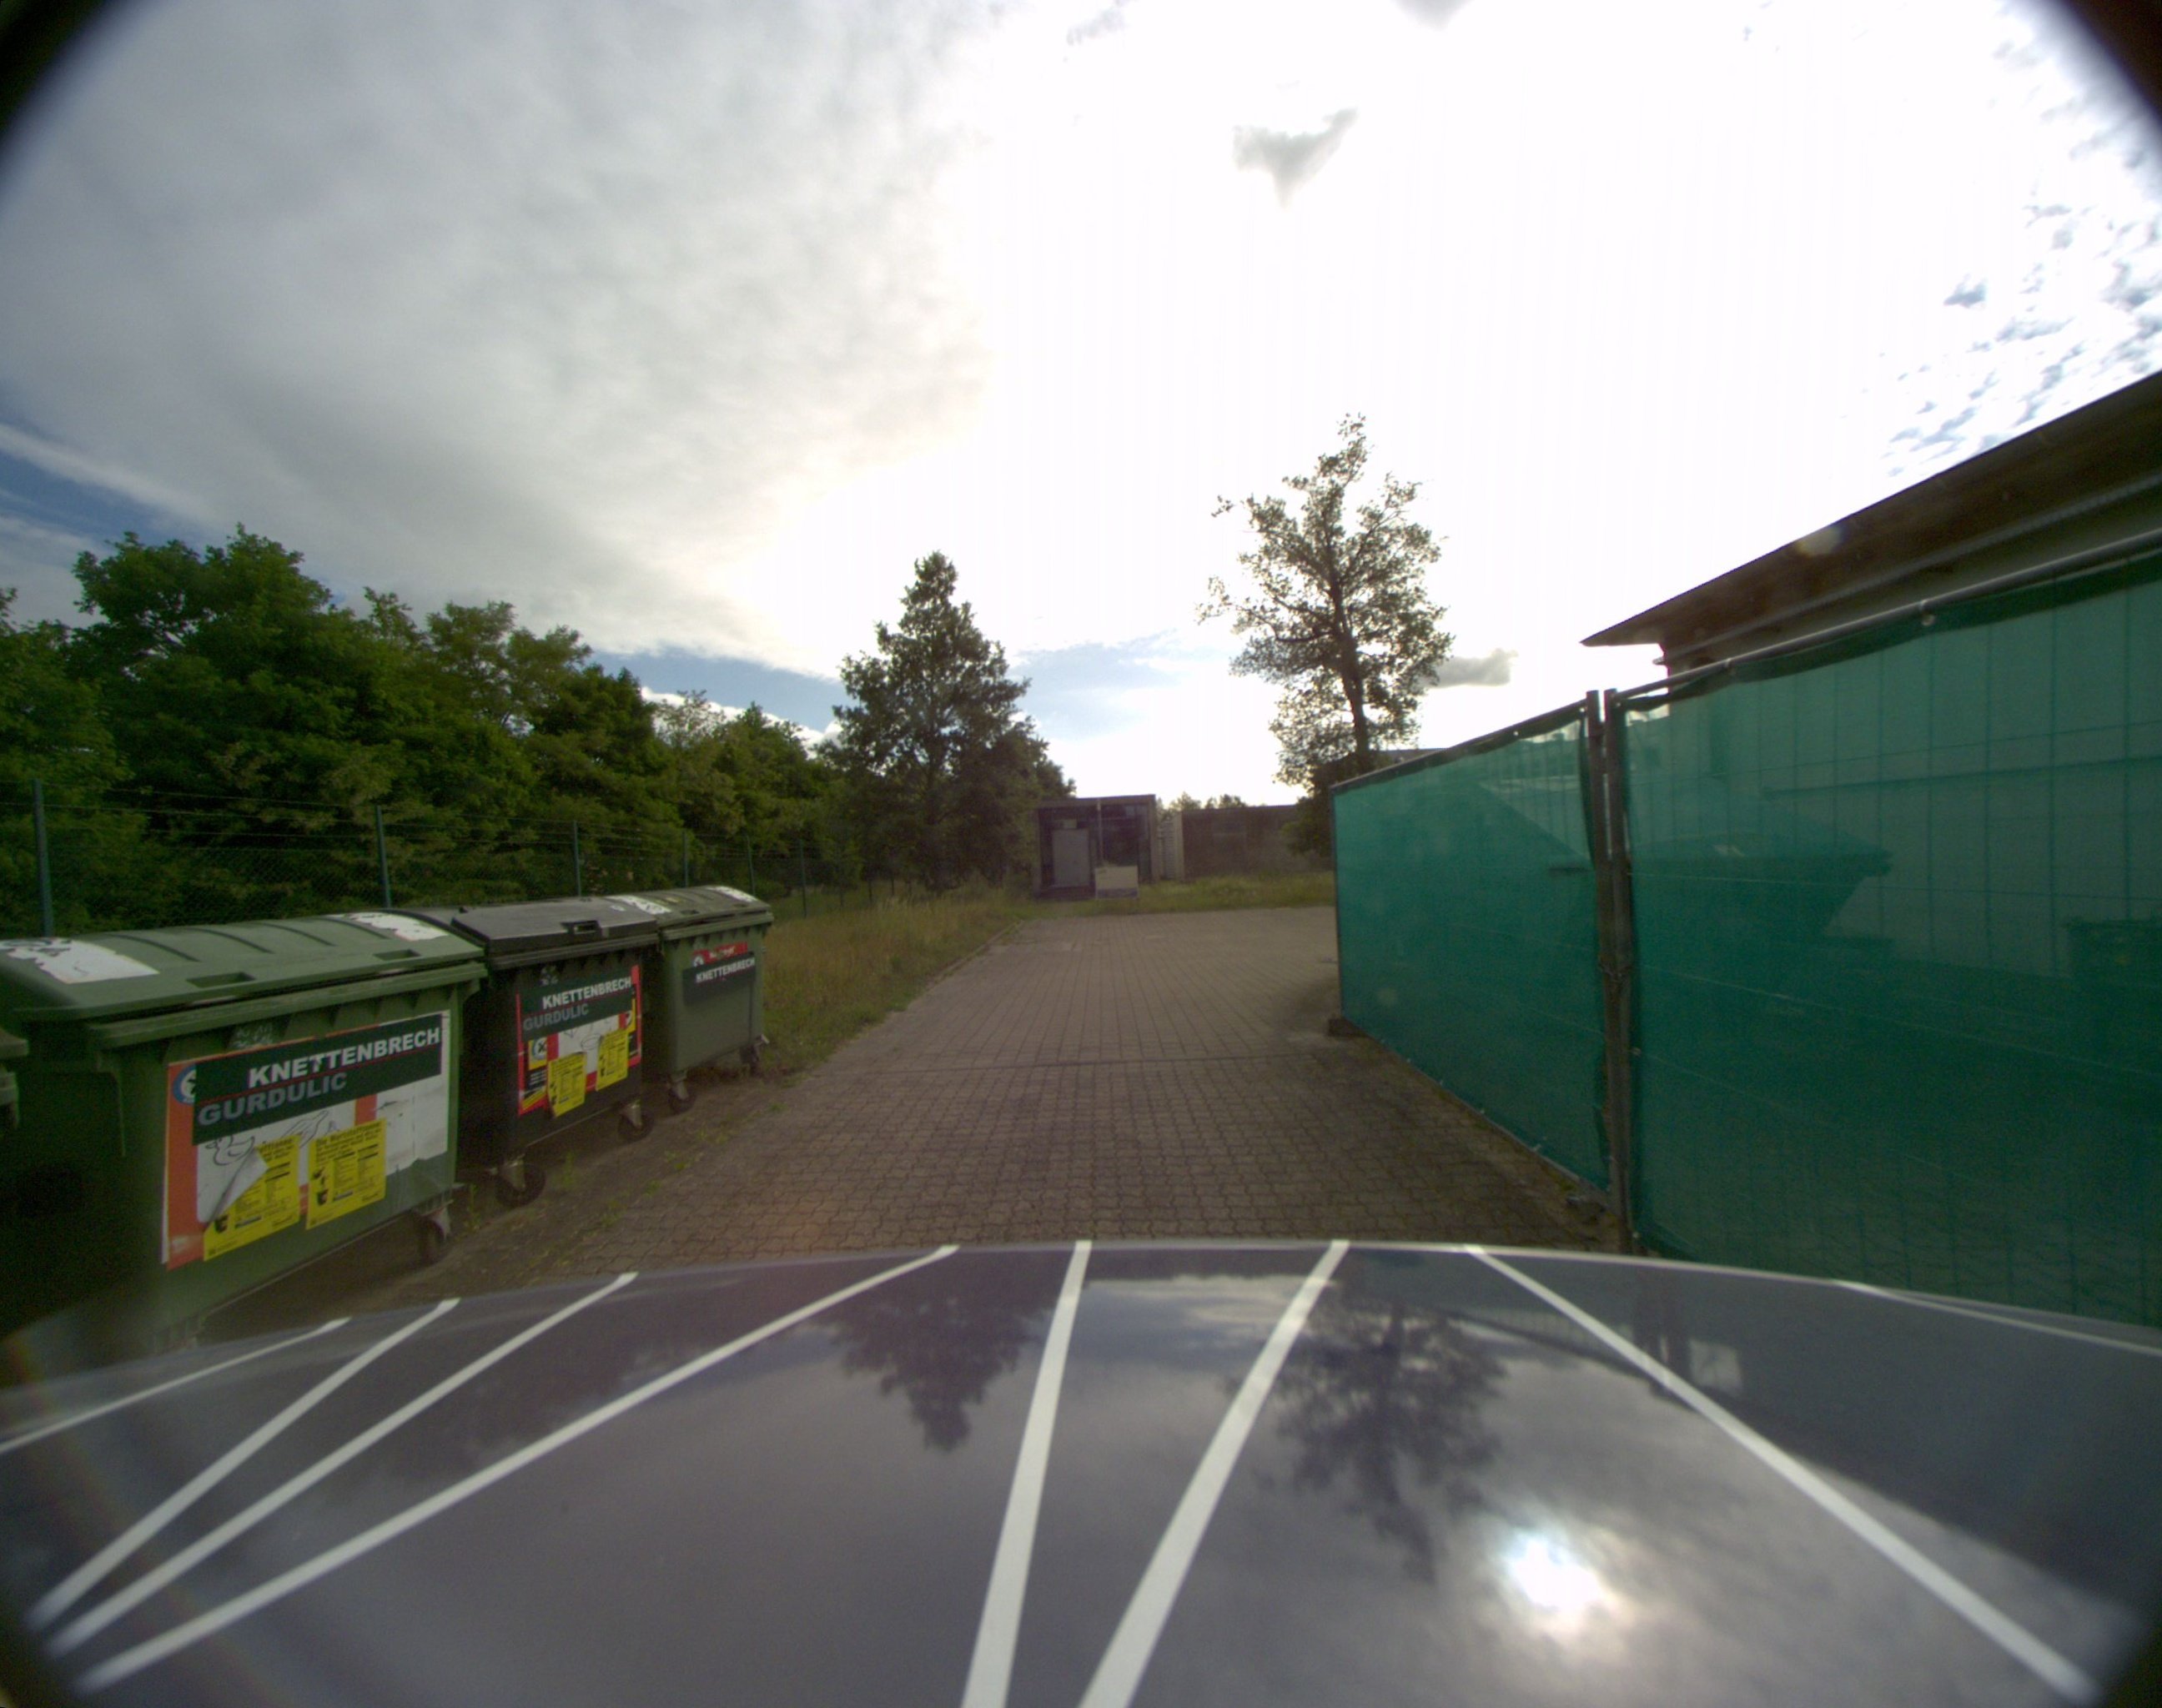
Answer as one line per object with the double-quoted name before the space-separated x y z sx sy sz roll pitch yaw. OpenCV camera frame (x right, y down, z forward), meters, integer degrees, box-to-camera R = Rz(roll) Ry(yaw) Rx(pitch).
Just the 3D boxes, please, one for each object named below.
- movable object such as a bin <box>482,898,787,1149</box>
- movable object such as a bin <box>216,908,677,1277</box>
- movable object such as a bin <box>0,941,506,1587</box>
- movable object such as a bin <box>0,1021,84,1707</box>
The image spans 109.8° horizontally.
"movable object such as a bin" -2.982 1.079 5.278 1.130 1.387 1.357 -3 1 10
"movable object such as a bin" -3.070 1.076 3.923 1.071 1.426 1.398 -3 1 5
"movable object such as a bin" -3.072 1.102 2.562 1.071 1.398 1.385 -3 1 5
"movable object such as a bin" -2.791 1.077 0.992 1.124 1.390 1.386 -3 1 12
